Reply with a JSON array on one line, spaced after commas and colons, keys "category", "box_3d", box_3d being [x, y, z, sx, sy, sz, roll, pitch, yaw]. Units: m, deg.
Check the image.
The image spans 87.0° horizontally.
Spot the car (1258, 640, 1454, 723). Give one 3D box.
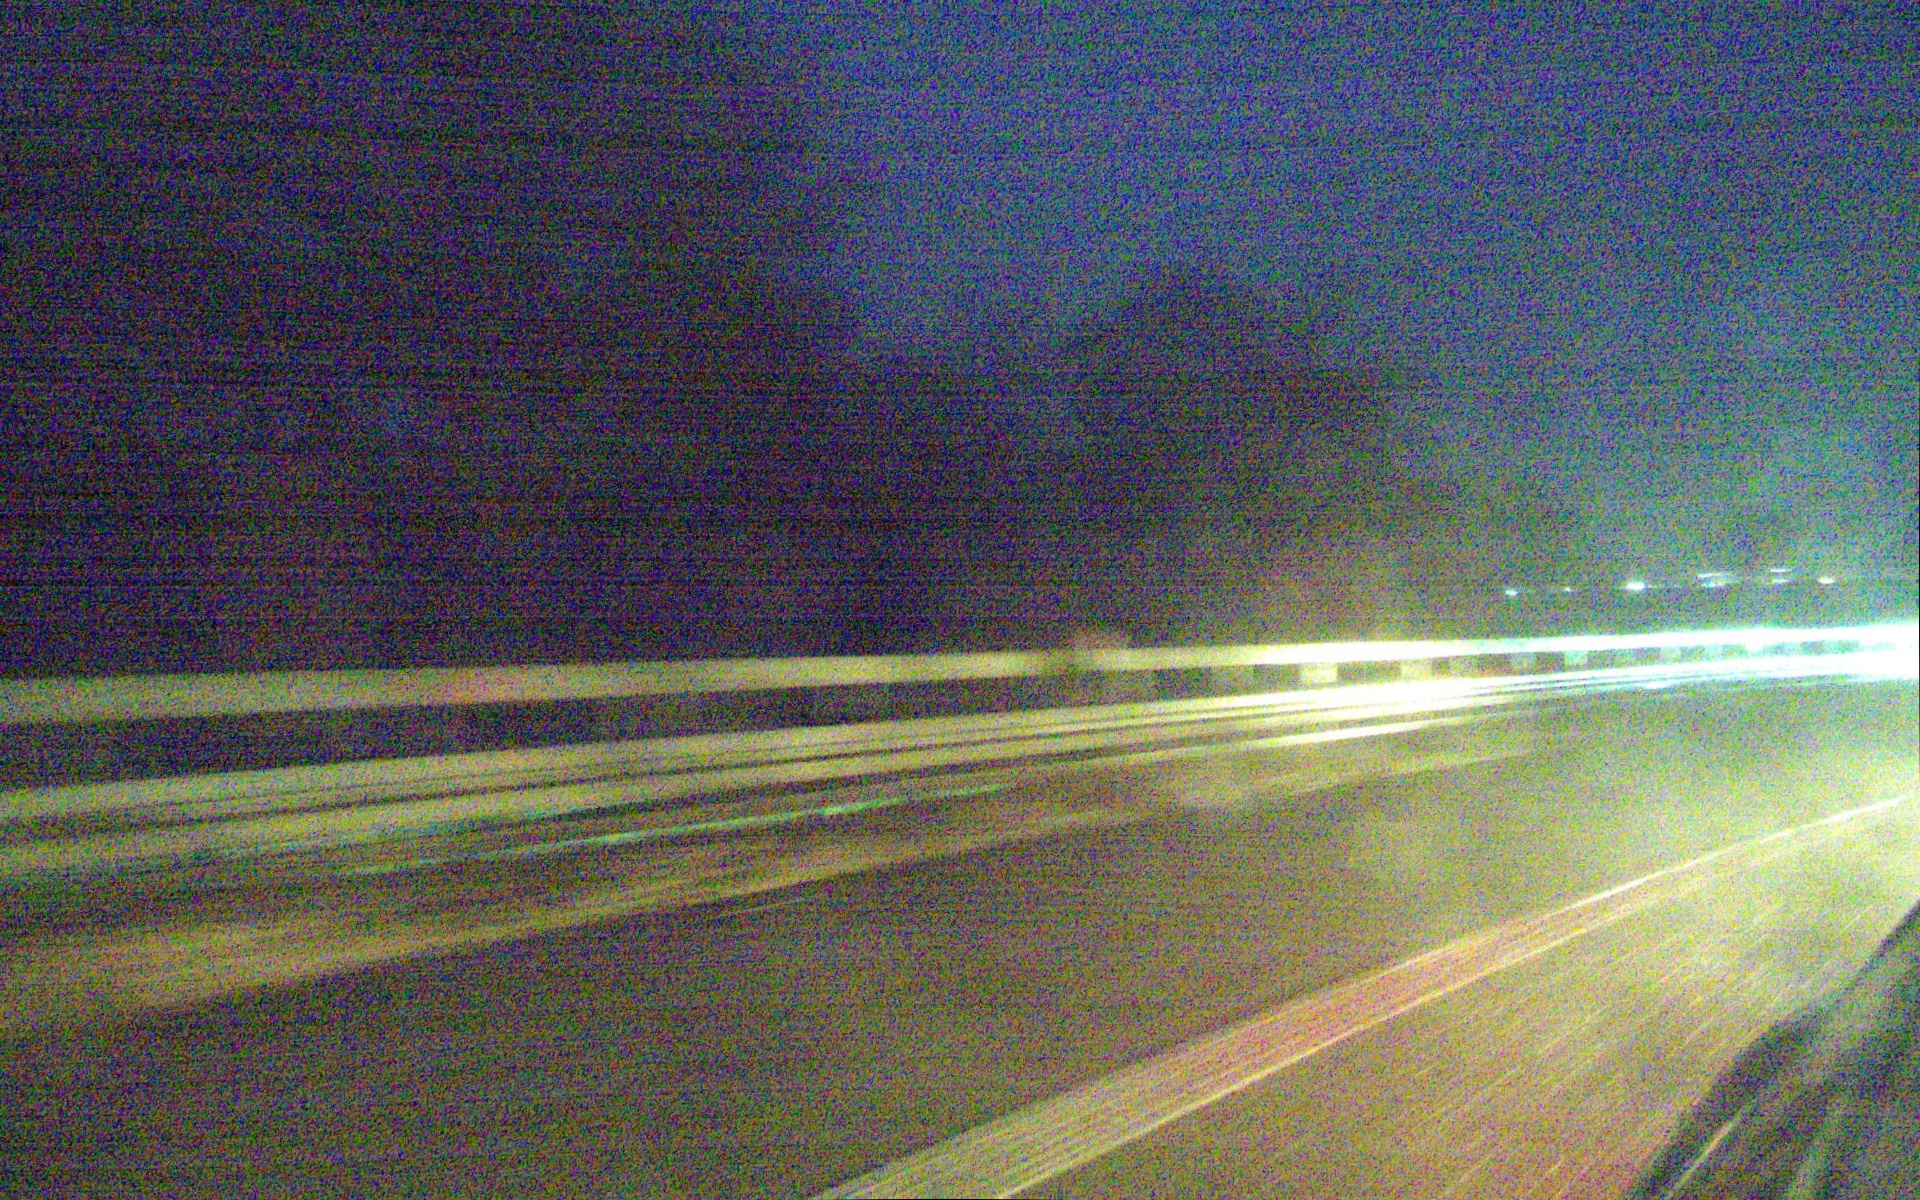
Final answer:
[{"category": "car", "box_3d": [9.621, 1.955, 24.694, 4.035, 1.706, 1.744, -3, -3, -12]}]
